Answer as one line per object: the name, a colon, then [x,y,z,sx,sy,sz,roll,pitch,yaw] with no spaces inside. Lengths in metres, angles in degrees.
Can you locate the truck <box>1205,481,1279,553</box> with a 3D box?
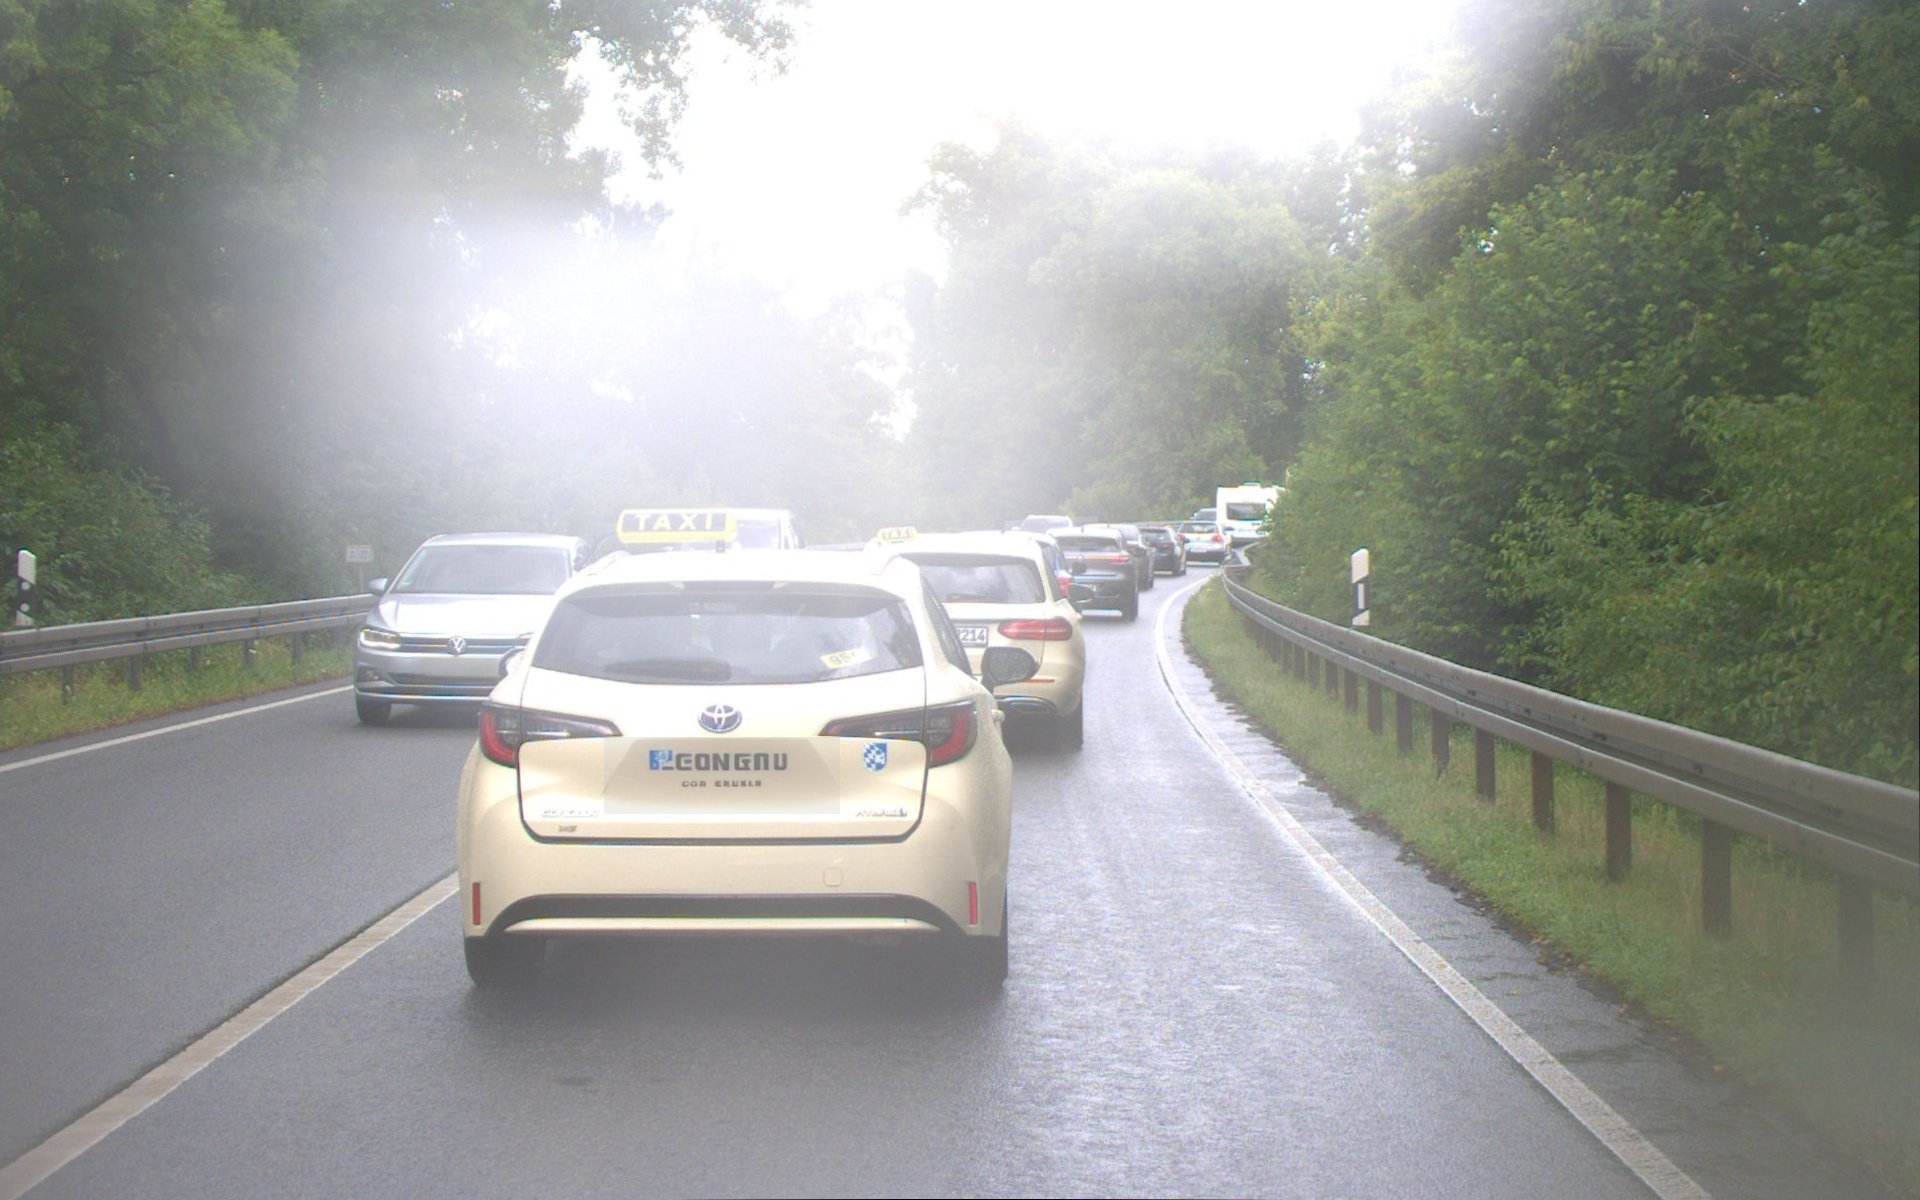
truck: [11.088,-3.227,135.638,2.550,2.704,7.535,1,1,2]

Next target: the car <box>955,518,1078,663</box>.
car: [0.623,-0.114,38.478,1.300,1.541,3.260,1,1,0]

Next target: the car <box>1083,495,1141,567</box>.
car: [3.363,-1.519,76.018,1.167,1.541,2.604,1,0,5]

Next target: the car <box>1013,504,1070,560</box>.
car: [2.992,-2.470,125.709,1.994,2.007,4.000,1,1,3]

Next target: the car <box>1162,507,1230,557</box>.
car: [7.666,-2.193,111.549,1.770,1.541,3.812,1,1,10]

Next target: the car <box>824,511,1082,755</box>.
car: [-0.016,0.197,24.398,1.667,1.575,3.892,1,1,1]

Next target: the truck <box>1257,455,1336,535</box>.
truck: [16.236,-4.995,165.462,3.108,3.668,6.997,1,1,11]

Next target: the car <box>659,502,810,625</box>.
car: [-3.224,-0.523,49.855,1.815,1.680,4.622,1,1,1]

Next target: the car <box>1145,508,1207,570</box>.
car: [5.814,-1.631,92.876,1.616,1.607,3.621,1,1,3]

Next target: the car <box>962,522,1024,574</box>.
car: [1.011,-1.596,104.603,1.807,1.527,4.206,0,1,2]

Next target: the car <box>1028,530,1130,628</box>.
car: [1.945,-0.340,56.392,1.611,1.541,3.814,0,0,2]

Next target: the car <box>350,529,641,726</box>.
car: [-3.583,0.182,27.137,1.728,1.426,3.849,1,1,1]

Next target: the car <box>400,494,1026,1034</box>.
car: [-0.728,0.466,12.242,1.834,1.575,4.157,1,1,0]
